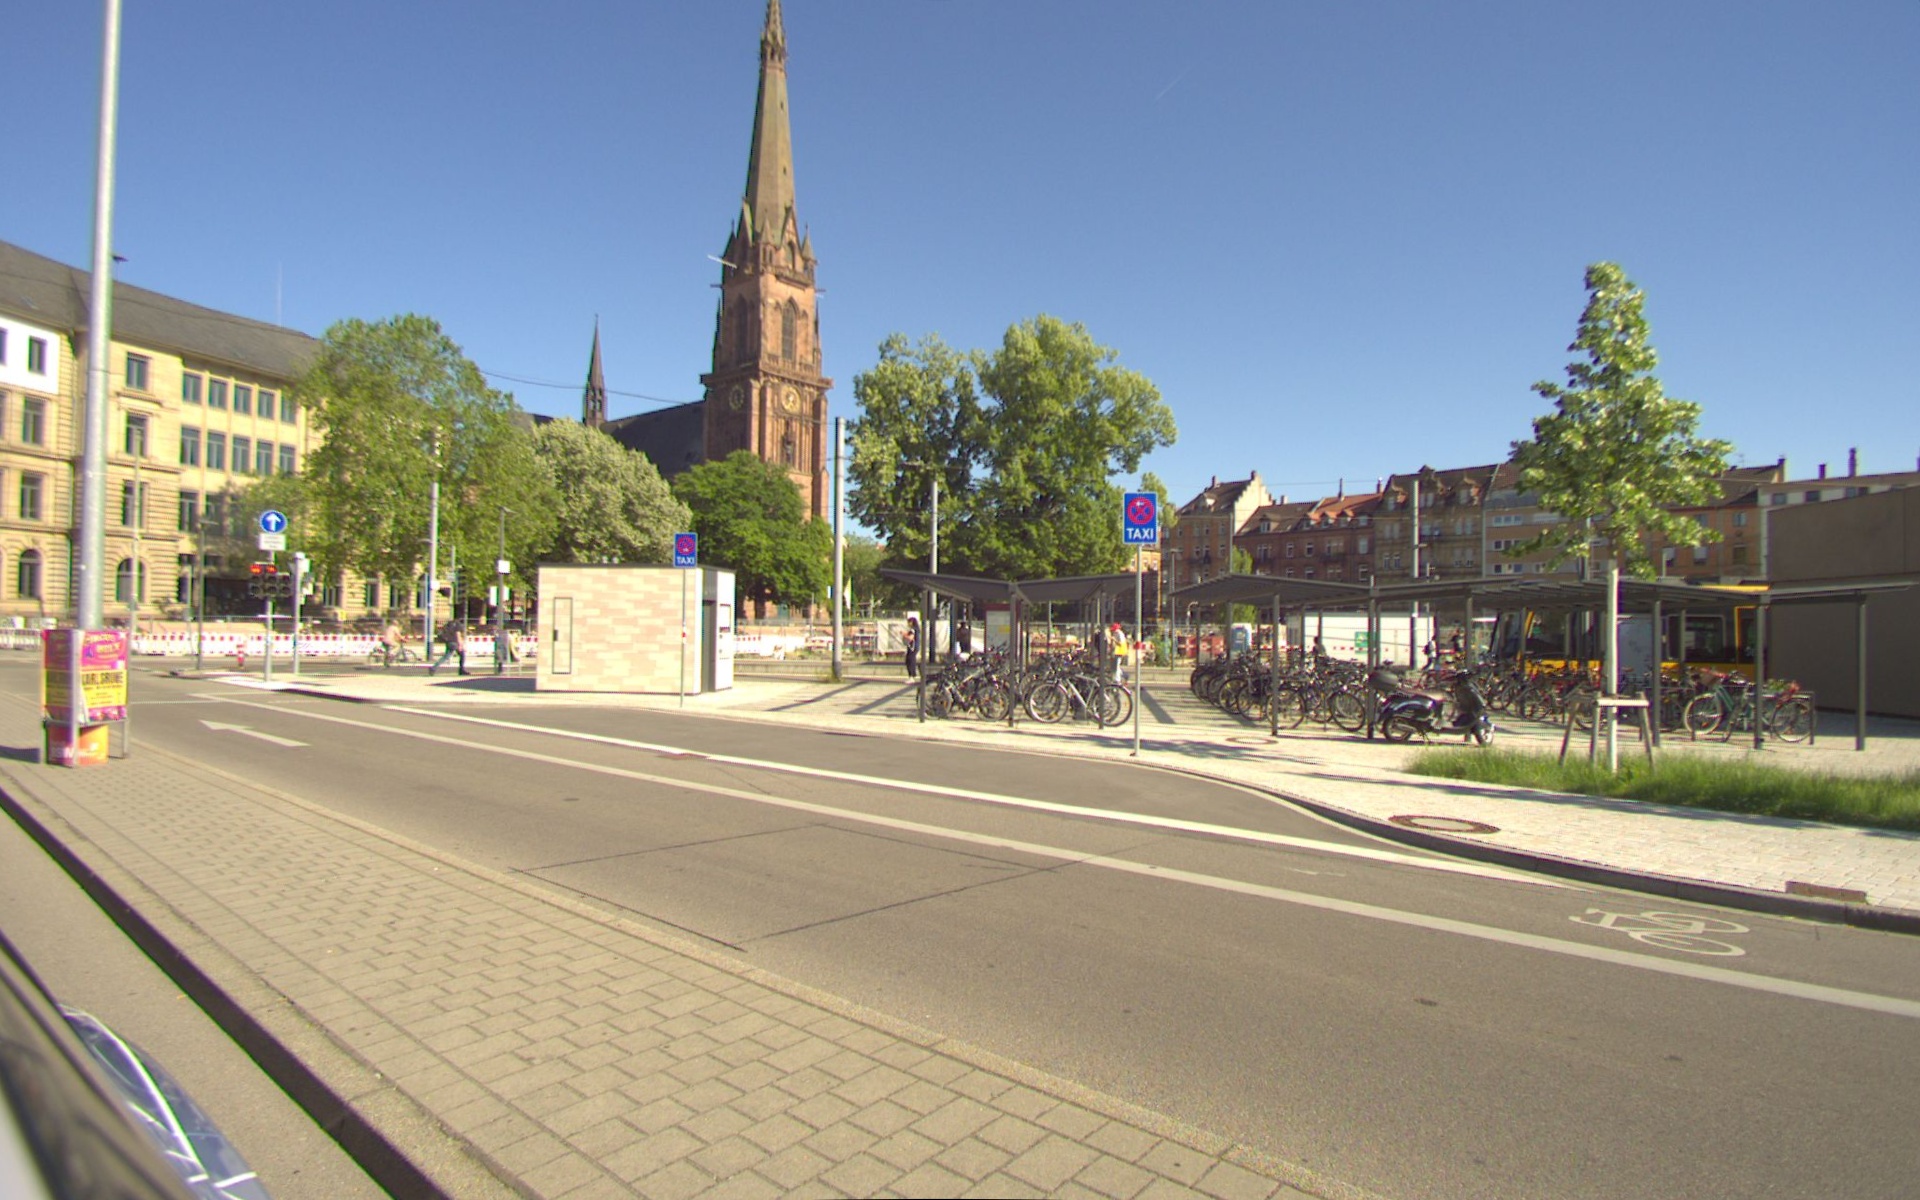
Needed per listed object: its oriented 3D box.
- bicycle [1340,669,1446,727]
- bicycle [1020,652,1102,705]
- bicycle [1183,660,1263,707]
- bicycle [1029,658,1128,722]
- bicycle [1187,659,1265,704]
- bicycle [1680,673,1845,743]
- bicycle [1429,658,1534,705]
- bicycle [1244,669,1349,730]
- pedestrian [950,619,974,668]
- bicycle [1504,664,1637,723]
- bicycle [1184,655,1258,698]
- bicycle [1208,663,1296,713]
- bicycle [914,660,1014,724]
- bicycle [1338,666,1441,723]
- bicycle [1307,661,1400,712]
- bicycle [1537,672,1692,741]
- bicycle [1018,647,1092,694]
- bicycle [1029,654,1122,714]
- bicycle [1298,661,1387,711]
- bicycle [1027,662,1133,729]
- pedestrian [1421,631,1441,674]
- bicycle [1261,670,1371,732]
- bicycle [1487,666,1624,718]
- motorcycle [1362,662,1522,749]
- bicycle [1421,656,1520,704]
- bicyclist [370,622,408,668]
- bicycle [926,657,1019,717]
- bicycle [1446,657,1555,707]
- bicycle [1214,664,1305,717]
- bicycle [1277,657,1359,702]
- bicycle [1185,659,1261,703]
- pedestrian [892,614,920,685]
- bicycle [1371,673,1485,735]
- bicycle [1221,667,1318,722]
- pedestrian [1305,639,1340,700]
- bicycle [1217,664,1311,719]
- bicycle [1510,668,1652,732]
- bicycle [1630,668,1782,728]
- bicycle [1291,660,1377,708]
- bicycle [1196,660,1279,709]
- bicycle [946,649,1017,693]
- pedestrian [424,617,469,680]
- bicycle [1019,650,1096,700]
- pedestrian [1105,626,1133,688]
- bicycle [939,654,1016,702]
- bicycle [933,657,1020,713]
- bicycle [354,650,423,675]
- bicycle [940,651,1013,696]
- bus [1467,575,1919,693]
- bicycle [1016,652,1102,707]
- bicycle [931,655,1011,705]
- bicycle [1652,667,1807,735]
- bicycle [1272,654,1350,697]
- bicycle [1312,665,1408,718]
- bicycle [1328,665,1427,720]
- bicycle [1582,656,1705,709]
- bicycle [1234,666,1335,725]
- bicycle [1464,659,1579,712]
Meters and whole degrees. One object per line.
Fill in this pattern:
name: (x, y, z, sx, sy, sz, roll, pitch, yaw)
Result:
bicycle: (7.642, 1.725, 17.898, 1.661, 0.980, 0.406, -1, 0, 3)
bicycle: (2.192, 1.694, 22.034, 1.755, 1.083, 0.406, 1, 0, 6)
bicycle: (5.785, 1.837, 22.302, 1.661, 0.980, 0.406, 1, -5, 3)
bicycle: (2.138, 1.617, 18.343, 1.753, 1.083, 0.406, 1, 0, 6)
bicycle: (6.052, 1.860, 23.057, 1.661, 0.980, 0.406, 1, -5, 3)
bicycle: (12.766, 1.715, 16.144, 2.048, 1.045, 0.533, -1, 0, 8)
bicycle: (12.030, 1.879, 23.380, 2.048, 1.045, 0.533, -1, -4, 8)
bicycle: (5.793, 1.709, 17.469, 1.661, 0.980, 0.406, 1, 0, 3)
pedestrian: (0.076, 1.680, 39.183, 0.610, 1.874, 0.703, 2, -2, -39)
bicycle: (11.321, 1.733, 18.818, 2.048, 1.045, 0.533, -1, 0, 8)
bicycle: (6.255, 1.836, 24.318, 1.661, 0.980, 0.406, 1, -5, 3)
bicycle: (5.924, 1.785, 20.570, 1.661, 0.980, 0.406, 1, -5, 3)
bicycle: (0.066, 1.574, 17.388, 1.663, 1.006, 0.406, 2, 0, 8)
bicycle: (7.822, 1.722, 18.466, 1.661, 0.980, 0.406, -1, 0, 3)
bicycle: (7.856, 1.730, 20.235, 1.661, 0.980, 0.406, -1, 0, 3)
bicycle: (10.571, 1.711, 16.395, 2.048, 1.045, 0.533, -1, 0, 8)
bicycle: (2.313, 1.723, 24.684, 1.755, 1.083, 0.406, 1, 0, 6)
bicycle: (2.234, 1.620, 19.588, 1.755, 1.083, 0.406, 1, 0, 6)
bicycle: (7.860, 1.761, 20.832, 1.661, 0.980, 0.406, -1, 0, 3)
bicycle: (2.021, 1.606, 17.098, 1.753, 1.083, 0.406, 1, -3, 6)
pedestrian: (20.776, 2.292, 44.630, 0.637, 1.885, 0.529, 0, -2, 5)
bicycle: (5.932, 1.685, 16.895, 1.661, 0.980, 0.406, -1, 0, 3)
bicycle: (11.613, 1.798, 19.796, 2.208, 0.951, 0.685, -1, 0, 7)
motorcycle: (7.192, 1.570, 15.166, 2.059, 1.228, 0.569, -1, -2, 3)
bicycle: (12.299, 1.919, 24.435, 2.048, 1.045, 0.533, 1, 3, 8)
bicyclist: (-19.885, 1.568, 35.256, 0.737, 1.583, 0.878, 0, -2, 25)
bicycle: (0.230, 1.597, 18.607, 1.663, 1.006, 0.406, 2, 0, 8)
bicycle: (11.865, 1.801, 22.262, 2.048, 1.045, 0.533, -1, 2, 8)
bicycle: (5.900, 1.781, 19.964, 1.661, 0.980, 0.406, 1, 0, 3)
bicycle: (8.072, 1.788, 22.844, 1.661, 0.980, 0.406, -1, 0, 3)
bicycle: (6.136, 1.881, 23.630, 1.661, 0.980, 0.406, 1, -5, 3)
pedestrian: (-1.438, 1.314, 27.107, 0.692, 1.873, 0.620, 1, -1, -1)
bicycle: (7.767, 1.723, 16.827, 1.661, 0.980, 0.406, -1, 0, 3)
bicycle: (5.727, 1.750, 18.774, 1.661, 0.980, 0.406, -1, 0, 3)
pedestrian: (11.716, 2.246, 32.739, 0.757, 1.931, 0.805, 1, -2, -11)
bicycle: (5.813, 1.737, 19.381, 1.661, 0.980, 0.406, 1, 0, 3)
bicycle: (10.811, 1.740, 17.668, 2.048, 1.045, 0.533, -1, 0, 8)
bicycle: (13.478, 1.763, 18.336, 2.117, 1.005, 0.690, -1, 0, 7)
bicycle: (7.987, 1.789, 21.629, 1.661, 0.980, 0.406, -1, 0, 3)
bicycle: (5.924, 1.805, 21.646, 1.661, 0.980, 0.406, 1, -5, 3)
bicycle: (0.516, 1.702, 24.193, 1.663, 1.006, 0.406, 0, 0, 8)
pedestrian: (-14.546, 1.360, 28.674, 0.987, 1.756, 0.631, 2, -2, -42)
bicycle: (2.271, 1.731, 23.504, 1.755, 1.083, 0.406, 1, 0, 6)
pedestrian: (4.250, 1.515, 27.048, 0.693, 1.635, 0.619, 0, -2, 5)
bicycle: (0.383, 1.705, 22.290, 1.663, 1.006, 0.406, 0, 0, 8)
bicycle: (0.327, 1.664, 19.951, 1.663, 1.006, 0.406, 2, 0, 8)
bicycle: (-19.889, 2.160, 35.249, 0.737, 0.788, 2.035, 0, -2, 25)
bicycle: (0.392, 1.701, 23.668, 1.663, 1.006, 0.406, 0, 0, 8)
bus: (21.997, 0.934, 28.648, 13.462, 3.095, 2.859, 0, -2, 6)
bicycle: (2.052, 1.642, 20.979, 1.755, 1.083, 0.406, 1, 0, 6)
bicycle: (0.228, 1.676, 21.410, 1.663, 1.006, 0.406, 0, 0, 8)
bicycle: (12.988, 1.696, 17.122, 2.030, 1.087, 0.604, -1, 0, 7)
bicycle: (8.290, 1.785, 23.921, 1.661, 0.980, 0.406, -1, 0, 3)
bicycle: (7.715, 1.763, 19.535, 1.661, 0.980, 0.406, -1, 0, 3)
bicycle: (7.841, 1.731, 19.019, 1.661, 0.980, 0.406, -1, 0, 3)
bicycle: (14.077, 1.696, 20.883, 2.048, 1.045, 0.533, -1, 0, 8)
bicycle: (5.814, 1.709, 18.194, 1.661, 0.980, 0.406, 1, 0, 3)
bicycle: (11.775, 1.795, 21.271, 2.048, 1.045, 0.533, -1, 2, 8)
